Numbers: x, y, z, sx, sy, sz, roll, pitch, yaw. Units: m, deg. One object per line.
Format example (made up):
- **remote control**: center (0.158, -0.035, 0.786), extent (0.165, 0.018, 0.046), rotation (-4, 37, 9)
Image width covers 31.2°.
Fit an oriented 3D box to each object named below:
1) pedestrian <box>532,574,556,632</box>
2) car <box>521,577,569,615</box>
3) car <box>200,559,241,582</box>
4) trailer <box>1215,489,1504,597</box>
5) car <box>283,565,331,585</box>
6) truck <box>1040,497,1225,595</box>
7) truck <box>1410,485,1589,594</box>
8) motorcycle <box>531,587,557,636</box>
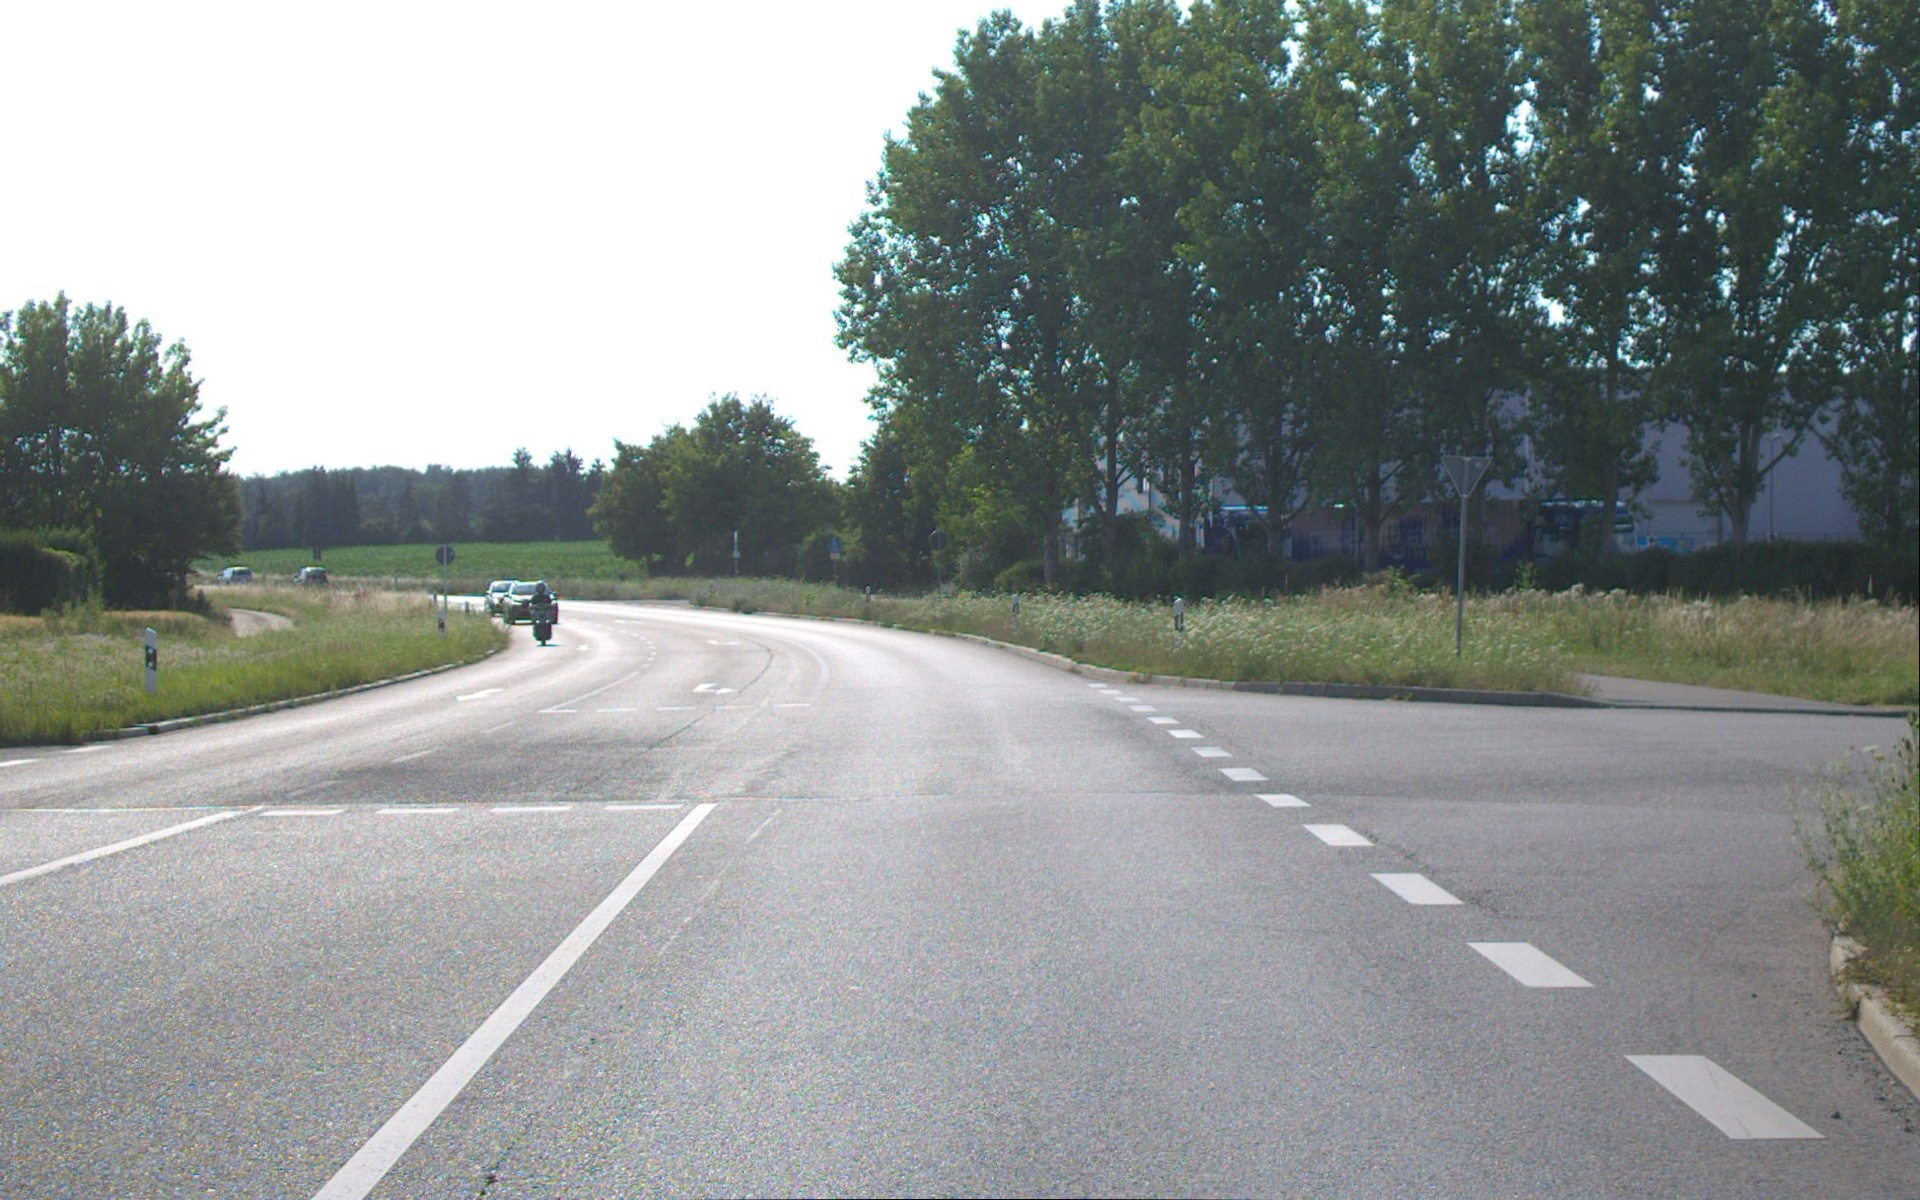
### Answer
- **pedestrian**: center (-11.025, 0.071, 91.146), extent (0.565, 1.500, 0.865), rotation (2, 0, -5)
- **car**: center (-15.128, -0.143, 125.430), extent (1.684, 1.344, 4.001), rotation (-1, 0, -6)
- **car**: center (-50.006, -1.992, 232.518), extent (1.850, 1.403, 3.645), rotation (3, -1, -26)
- **trailer**: center (13.201, -1.815, 115.560), extent (2.683, 3.131, 13.271), rotation (3, -2, -27)
- **car**: center (-40.922, -1.550, 215.445), extent (1.967, 1.147, 3.868), rotation (3, -1, -26)
- **truck**: center (6.286, -1.971, 127.346), extent (2.511, 3.365, 9.687), rotation (3, -1, -25)
- **truck**: center (16.941, -1.857, 108.284), extent (2.620, 3.151, 5.710), rotation (3, -2, -27)
- **motorcycle**: center (-11.029, 0.304, 91.115), extent (0.585, 1.256, 2.121), rotation (2, 0, -6)
